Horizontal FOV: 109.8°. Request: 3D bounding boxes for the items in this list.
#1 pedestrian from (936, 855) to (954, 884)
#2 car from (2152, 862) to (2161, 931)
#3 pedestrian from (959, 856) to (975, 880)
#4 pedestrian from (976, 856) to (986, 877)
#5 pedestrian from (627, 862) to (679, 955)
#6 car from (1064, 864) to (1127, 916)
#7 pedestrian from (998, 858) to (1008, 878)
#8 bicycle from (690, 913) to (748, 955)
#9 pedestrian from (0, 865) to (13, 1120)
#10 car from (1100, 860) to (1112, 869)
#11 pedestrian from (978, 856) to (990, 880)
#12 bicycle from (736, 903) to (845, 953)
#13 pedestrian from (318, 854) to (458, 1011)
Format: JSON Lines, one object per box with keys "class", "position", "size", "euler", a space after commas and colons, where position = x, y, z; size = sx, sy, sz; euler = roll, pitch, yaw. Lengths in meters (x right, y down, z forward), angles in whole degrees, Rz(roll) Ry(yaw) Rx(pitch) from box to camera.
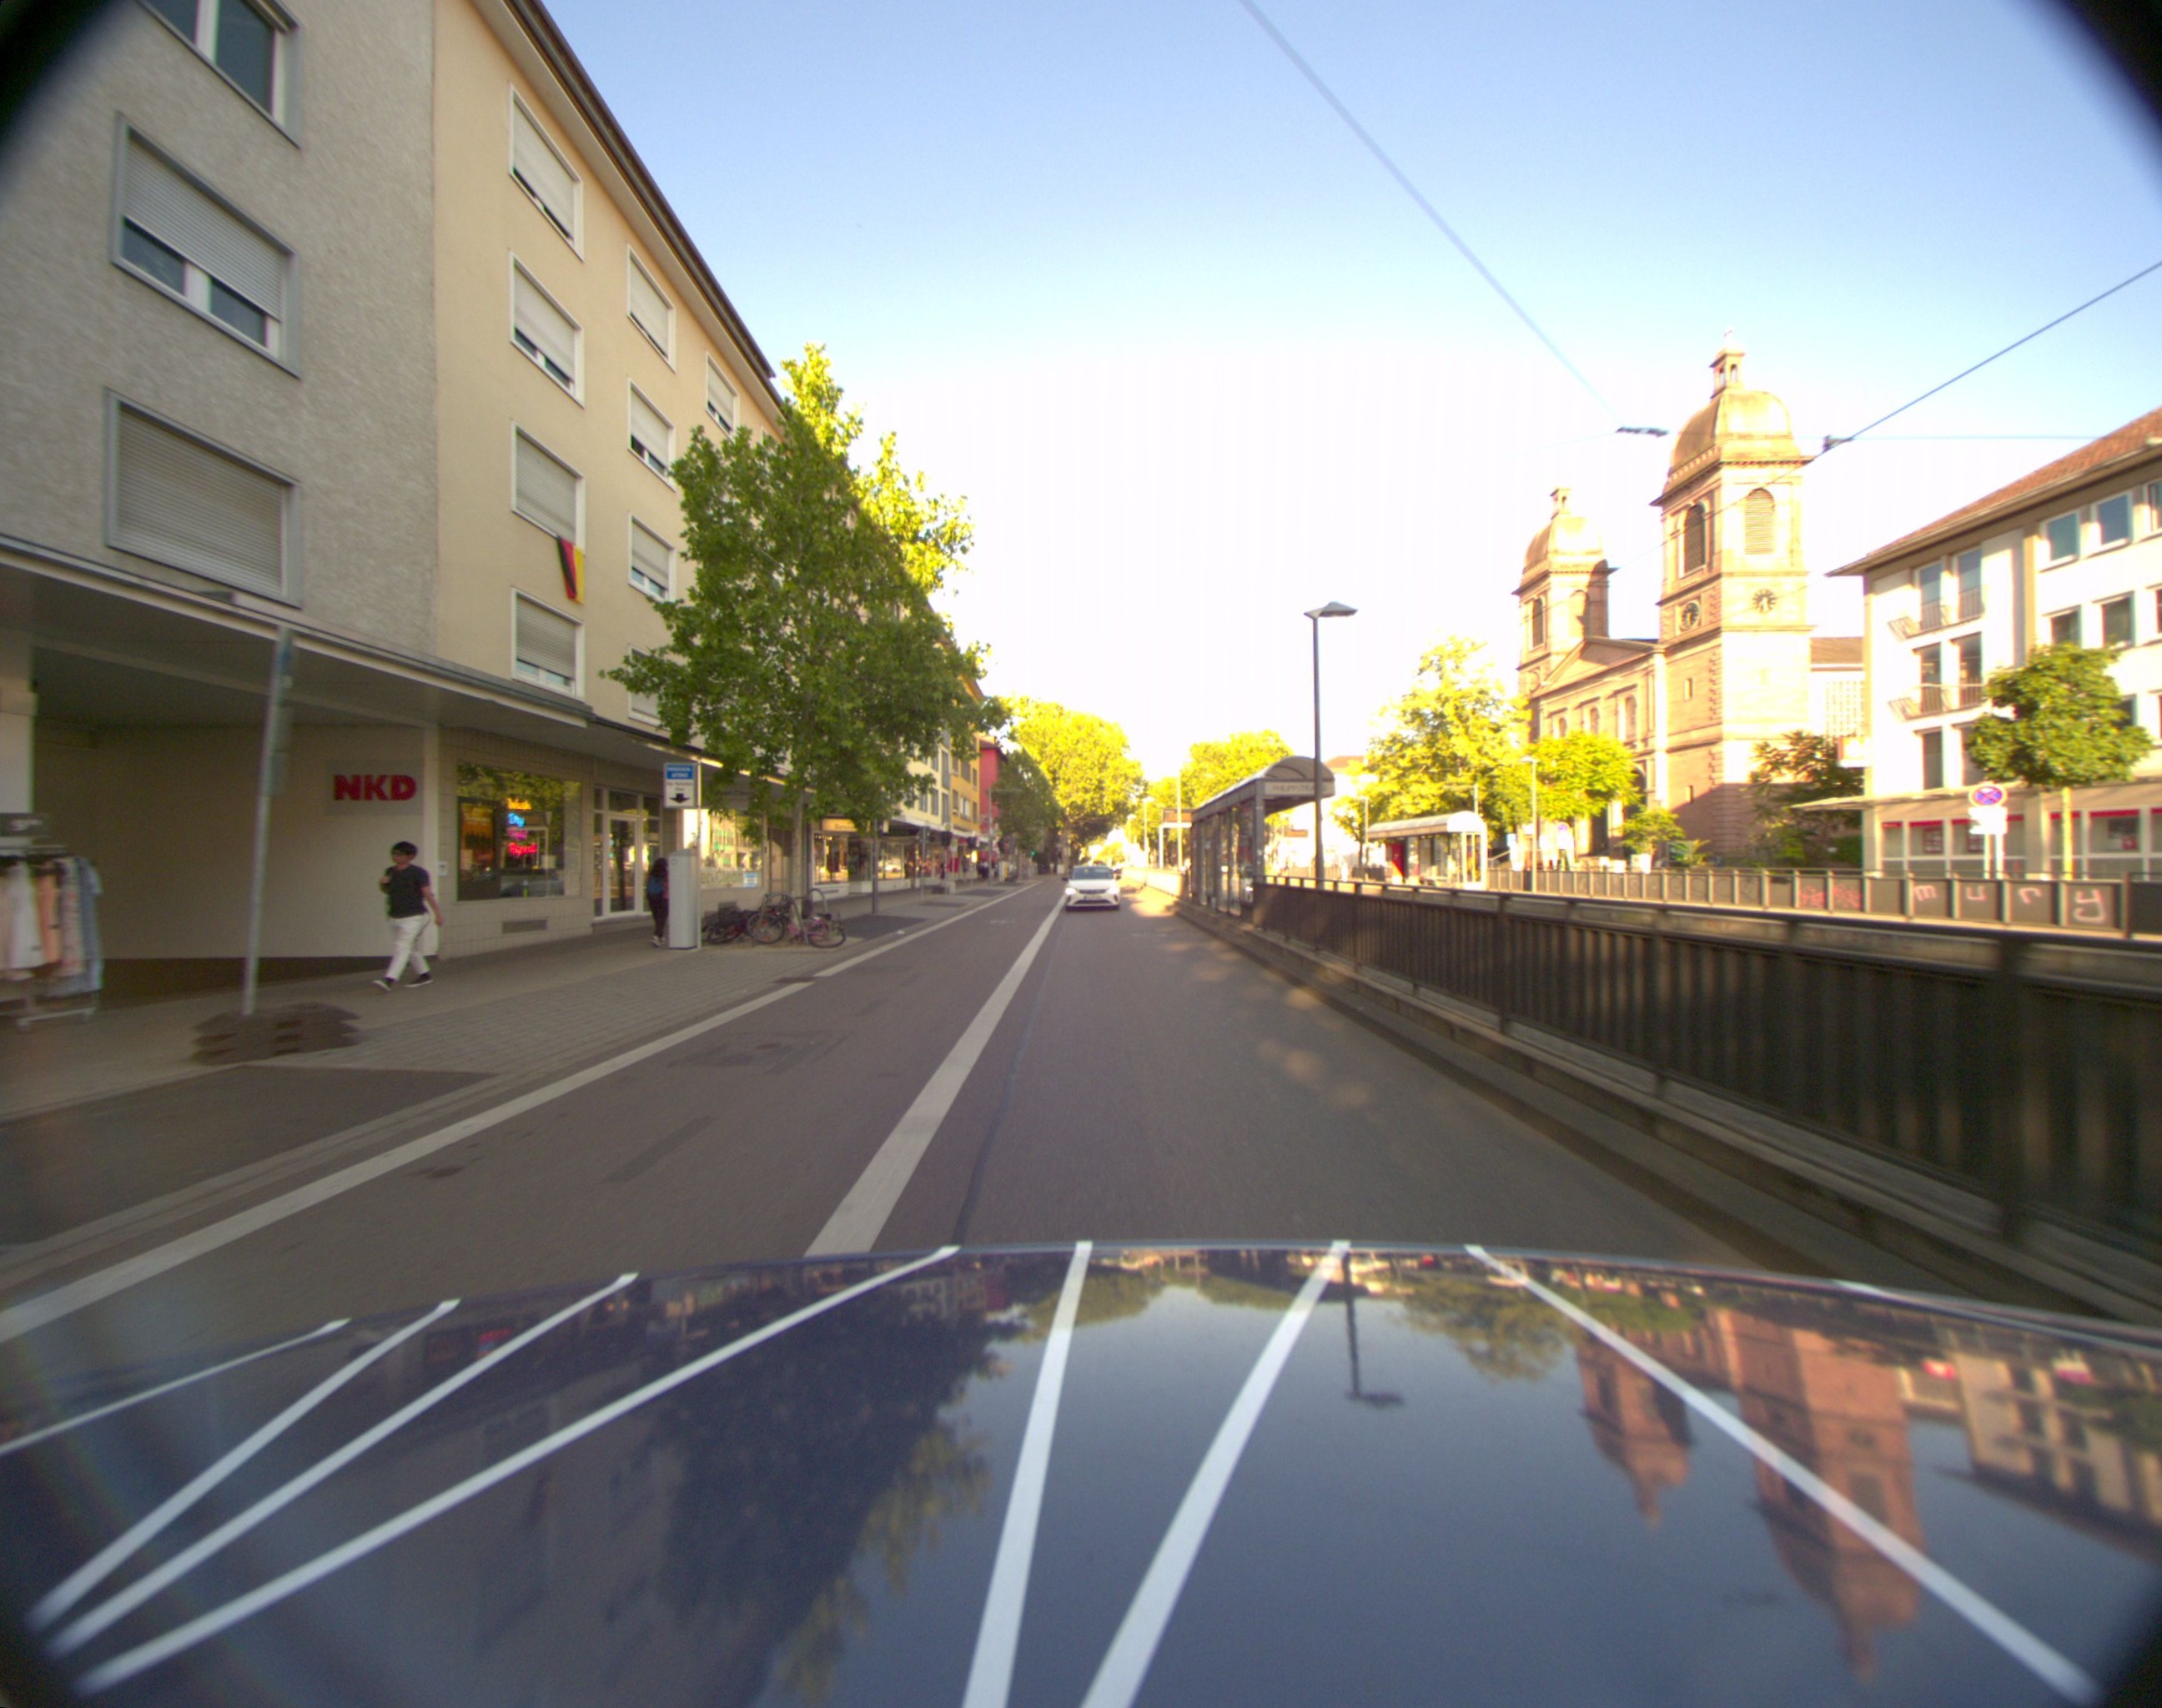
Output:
{"class": "pedestrian", "position": [-8.073, 0.920, 45.088], "size": [0.851, 1.645, 0.915], "euler": [-2, 1, 0]}
{"class": "car", "position": [23.030, 0.963, 14.781], "size": [1.739, 1.477, 4.007], "euler": [-2, 1, 43]}
{"class": "pedestrian", "position": [-7.988, 0.970, 53.259], "size": [0.851, 1.645, 0.915], "euler": [-2, 1, 0]}
{"class": "pedestrian", "position": [-7.877, 0.991, 59.738], "size": [0.634, 1.645, 0.651], "euler": [-2, 1, 0]}
{"class": "pedestrian", "position": [-7.430, 0.927, 13.216], "size": [0.490, 1.558, 0.648], "euler": [2, 0, 2]}
{"class": "car", "position": [0.451, 1.091, 24.239], "size": [1.826, 1.433, 3.828], "euler": [-2, 0, 1]}
{"class": "pedestrian", "position": [-6.343, 1.128, 61.740], "size": [0.634, 1.645, 0.651], "euler": [-2, 1, 0]}
{"class": "bicycle", "position": [-6.451, 1.413, 13.615], "size": [0.840, 0.569, 1.757], "euler": [0, -1, -22]}
{"class": "pedestrian", "position": [-7.132, 0.870, 4.416], "size": [0.547, 1.619, 0.896], "euler": [1, 0, 0]}
{"class": "car", "position": [4.664, 1.923, 141.334], "size": [1.719, 1.390, 3.998], "euler": [-3, 1, -4]}
{"class": "pedestrian", "position": [-6.763, 0.995, 53.155], "size": [0.693, 1.665, 0.659], "euler": [2, 0, 1]}
{"class": "bicycle", "position": [-5.180, 1.304, 13.590], "size": [1.763, 0.773, 0.702], "euler": [0, 0, -22]}
{"class": "pedestrian", "position": [-7.837, 0.842, 8.645], "size": [0.569, 1.665, 1.070], "euler": [2, 0, 1]}
